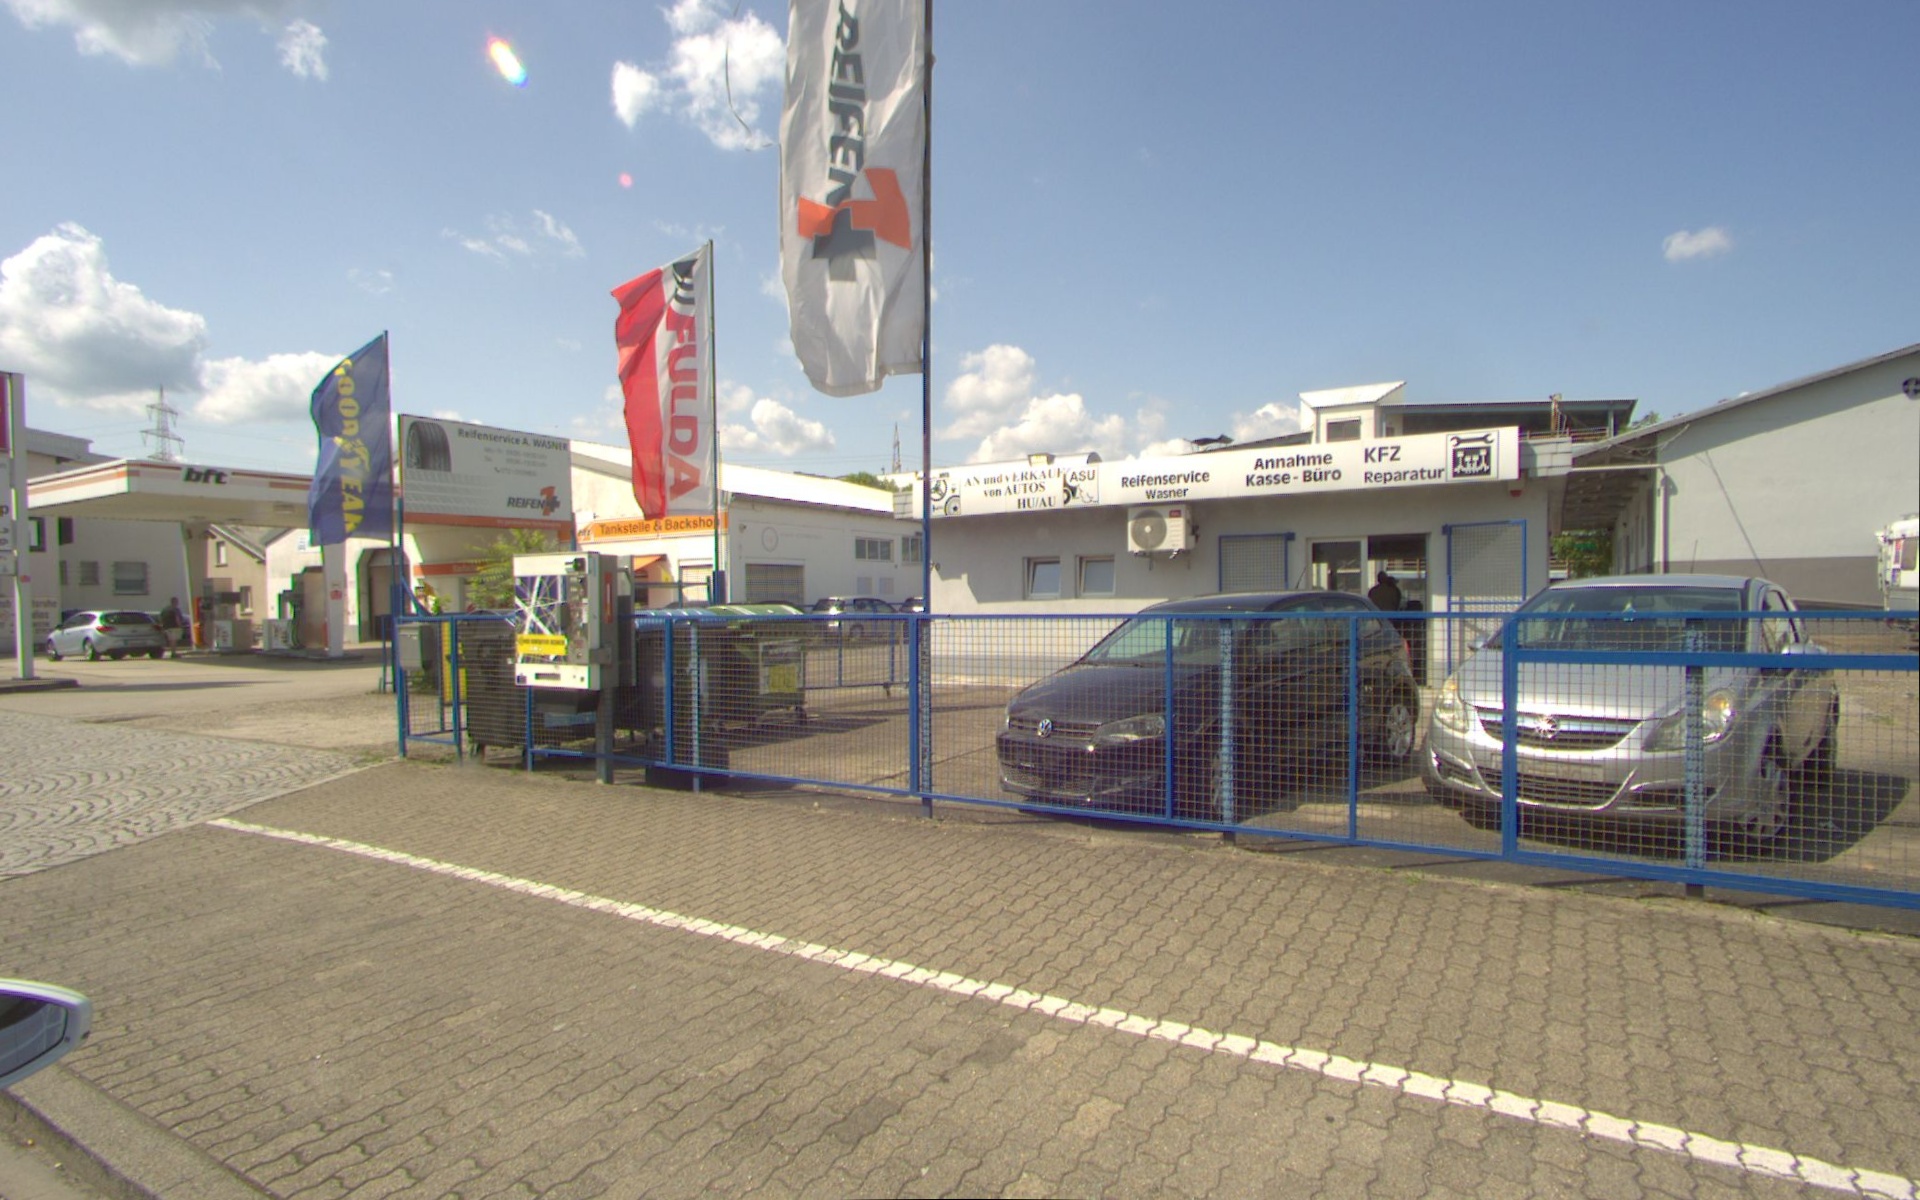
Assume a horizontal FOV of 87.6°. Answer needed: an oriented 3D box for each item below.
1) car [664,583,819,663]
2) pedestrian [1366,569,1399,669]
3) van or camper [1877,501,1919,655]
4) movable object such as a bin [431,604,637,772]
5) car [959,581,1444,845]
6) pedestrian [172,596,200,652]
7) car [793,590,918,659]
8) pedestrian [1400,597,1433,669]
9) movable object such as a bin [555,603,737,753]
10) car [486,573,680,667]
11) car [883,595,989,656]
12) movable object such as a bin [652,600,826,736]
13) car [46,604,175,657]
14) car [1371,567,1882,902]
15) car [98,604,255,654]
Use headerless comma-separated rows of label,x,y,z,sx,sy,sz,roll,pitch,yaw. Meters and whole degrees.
car,-5.944,0.572,27.633,1.971,2.040,3.979,0,0,32
pedestrian,7.402,0.325,17.545,0.480,1.710,0.499,0,1,30
van or camper,21.351,-0.457,19.317,4.983,3.002,2.276,0,1,31
movable object such as a bin,-4.128,0.785,9.742,1.434,1.473,1.224,0,1,31
car,2.018,0.628,7.645,3.962,1.499,1.705,-1,1,-43
pedestrian,-23.694,0.729,30.655,0.628,1.705,0.618,-1,1,-36
car,-3.260,0.728,31.984,1.971,2.040,3.979,0,0,32
pedestrian,7.983,0.563,17.522,0.480,1.229,0.499,0,1,30
movable object such as a bin,-3.368,0.776,10.782,1.434,1.473,1.224,0,1,31
car,-8.909,0.436,23.979,1.971,2.040,3.979,0,0,32
car,-0.800,0.864,35.874,1.971,2.040,3.979,0,0,32
movable object such as a bin,-2.602,0.744,11.896,1.433,1.473,1.427,0,1,31
car,-25.830,0.890,30.432,3.950,1.499,1.829,-1,1,31
car,4.506,0.588,6.508,4.104,1.499,1.787,-1,0,-42
car,-27.627,0.989,35.454,4.053,1.646,1.679,-1,1,-25
